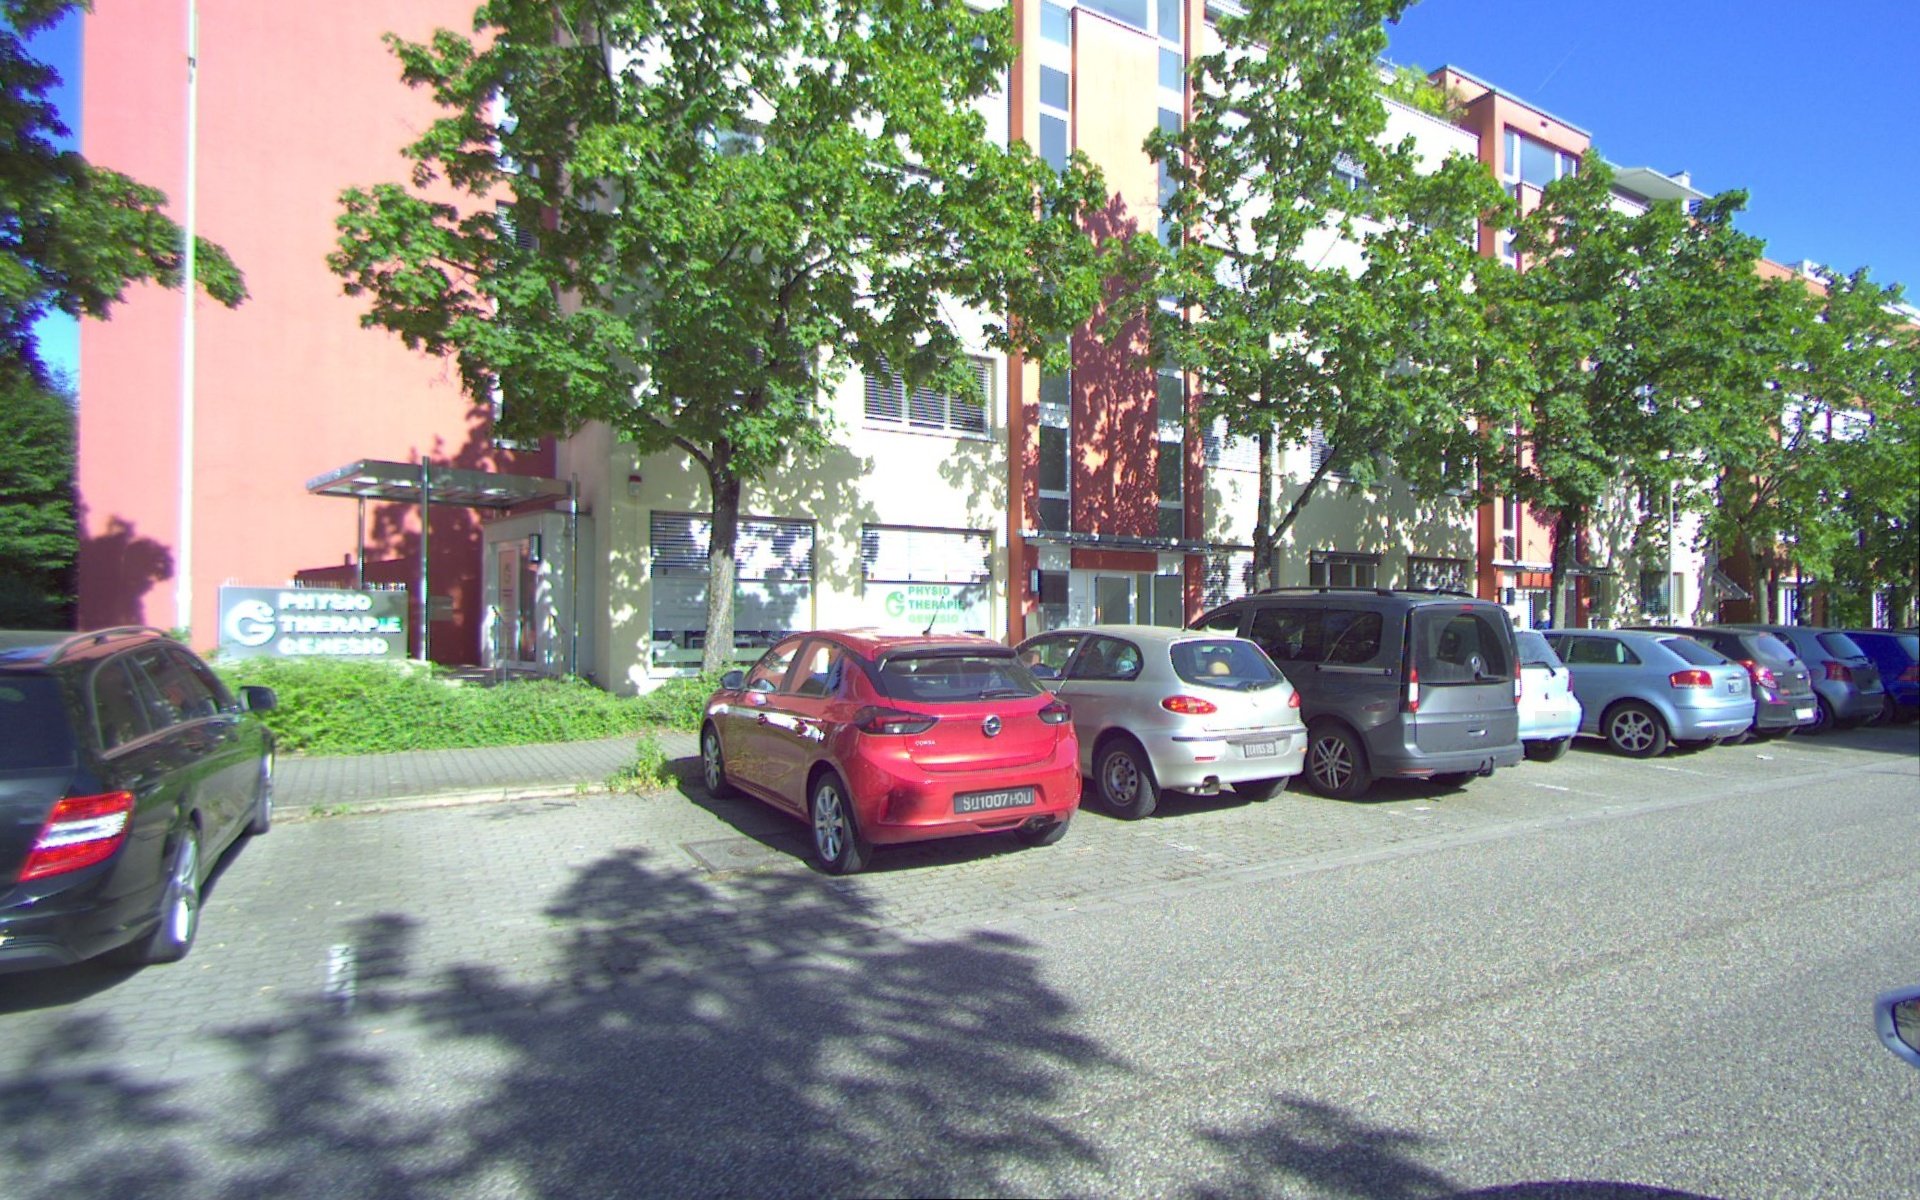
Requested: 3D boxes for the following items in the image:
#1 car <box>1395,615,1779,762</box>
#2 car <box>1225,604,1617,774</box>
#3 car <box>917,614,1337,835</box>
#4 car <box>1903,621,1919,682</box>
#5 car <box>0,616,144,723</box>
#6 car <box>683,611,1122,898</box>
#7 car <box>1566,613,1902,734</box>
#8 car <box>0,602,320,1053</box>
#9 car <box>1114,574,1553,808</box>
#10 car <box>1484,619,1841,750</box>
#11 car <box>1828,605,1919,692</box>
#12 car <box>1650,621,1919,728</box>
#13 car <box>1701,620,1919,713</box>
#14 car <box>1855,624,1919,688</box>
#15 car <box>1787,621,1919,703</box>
[{"bbox_3d":[7.772,0.987,12.772,1.856,1.466,3.704,1,0,-33],"label":"car"},{"bbox_3d":[5.226,0.888,11.905,1.837,1.595,3.874,1,0,-29],"label":"car"},{"bbox_3d":[1.255,0.912,9.147,1.719,1.442,3.874,1,0,-29],"label":"car"},{"bbox_3d":[24.574,1.284,23.217,1.705,1.446,3.707,1,0,-31],"label":"car"},{"bbox_3d":[-14.130,0.973,14.101,4.101,1.462,1.718,1,-2,-42],"label":"car"},{"bbox_3d":[-0.702,0.854,7.462,1.719,1.442,3.874,1,0,-29],"label":"car"},{"bbox_3d":[11.796,1.027,15.547,1.838,1.529,3.707,1,0,-31],"label":"car"},{"bbox_3d":[-4.563,0.777,5.095,1.716,1.442,4.248,1,0,-26],"label":"car"},{"bbox_3d":[3.447,0.706,10.008,1.764,1.835,3.874,1,0,-29],"label":"car"},{"bbox_3d":[9.690,1.056,14.121,1.840,1.466,3.704,1,0,-33],"label":"car"},{"bbox_3d":[20.675,1.026,20.334,1.940,1.740,4.298,1,0,-31],"label":"car"},{"bbox_3d":[13.869,1.132,16.549,1.819,1.446,3.707,1,0,-31],"label":"car"},{"bbox_3d":[16.063,1.159,18.334,1.752,1.446,3.707,1,0,-31],"label":"car"},{"bbox_3d":[22.437,1.280,21.721,1.737,1.376,4.299,1,0,-31],"label":"car"},{"bbox_3d":[18.514,1.187,18.795,1.753,1.446,4.379,1,0,-32],"label":"car"}]
